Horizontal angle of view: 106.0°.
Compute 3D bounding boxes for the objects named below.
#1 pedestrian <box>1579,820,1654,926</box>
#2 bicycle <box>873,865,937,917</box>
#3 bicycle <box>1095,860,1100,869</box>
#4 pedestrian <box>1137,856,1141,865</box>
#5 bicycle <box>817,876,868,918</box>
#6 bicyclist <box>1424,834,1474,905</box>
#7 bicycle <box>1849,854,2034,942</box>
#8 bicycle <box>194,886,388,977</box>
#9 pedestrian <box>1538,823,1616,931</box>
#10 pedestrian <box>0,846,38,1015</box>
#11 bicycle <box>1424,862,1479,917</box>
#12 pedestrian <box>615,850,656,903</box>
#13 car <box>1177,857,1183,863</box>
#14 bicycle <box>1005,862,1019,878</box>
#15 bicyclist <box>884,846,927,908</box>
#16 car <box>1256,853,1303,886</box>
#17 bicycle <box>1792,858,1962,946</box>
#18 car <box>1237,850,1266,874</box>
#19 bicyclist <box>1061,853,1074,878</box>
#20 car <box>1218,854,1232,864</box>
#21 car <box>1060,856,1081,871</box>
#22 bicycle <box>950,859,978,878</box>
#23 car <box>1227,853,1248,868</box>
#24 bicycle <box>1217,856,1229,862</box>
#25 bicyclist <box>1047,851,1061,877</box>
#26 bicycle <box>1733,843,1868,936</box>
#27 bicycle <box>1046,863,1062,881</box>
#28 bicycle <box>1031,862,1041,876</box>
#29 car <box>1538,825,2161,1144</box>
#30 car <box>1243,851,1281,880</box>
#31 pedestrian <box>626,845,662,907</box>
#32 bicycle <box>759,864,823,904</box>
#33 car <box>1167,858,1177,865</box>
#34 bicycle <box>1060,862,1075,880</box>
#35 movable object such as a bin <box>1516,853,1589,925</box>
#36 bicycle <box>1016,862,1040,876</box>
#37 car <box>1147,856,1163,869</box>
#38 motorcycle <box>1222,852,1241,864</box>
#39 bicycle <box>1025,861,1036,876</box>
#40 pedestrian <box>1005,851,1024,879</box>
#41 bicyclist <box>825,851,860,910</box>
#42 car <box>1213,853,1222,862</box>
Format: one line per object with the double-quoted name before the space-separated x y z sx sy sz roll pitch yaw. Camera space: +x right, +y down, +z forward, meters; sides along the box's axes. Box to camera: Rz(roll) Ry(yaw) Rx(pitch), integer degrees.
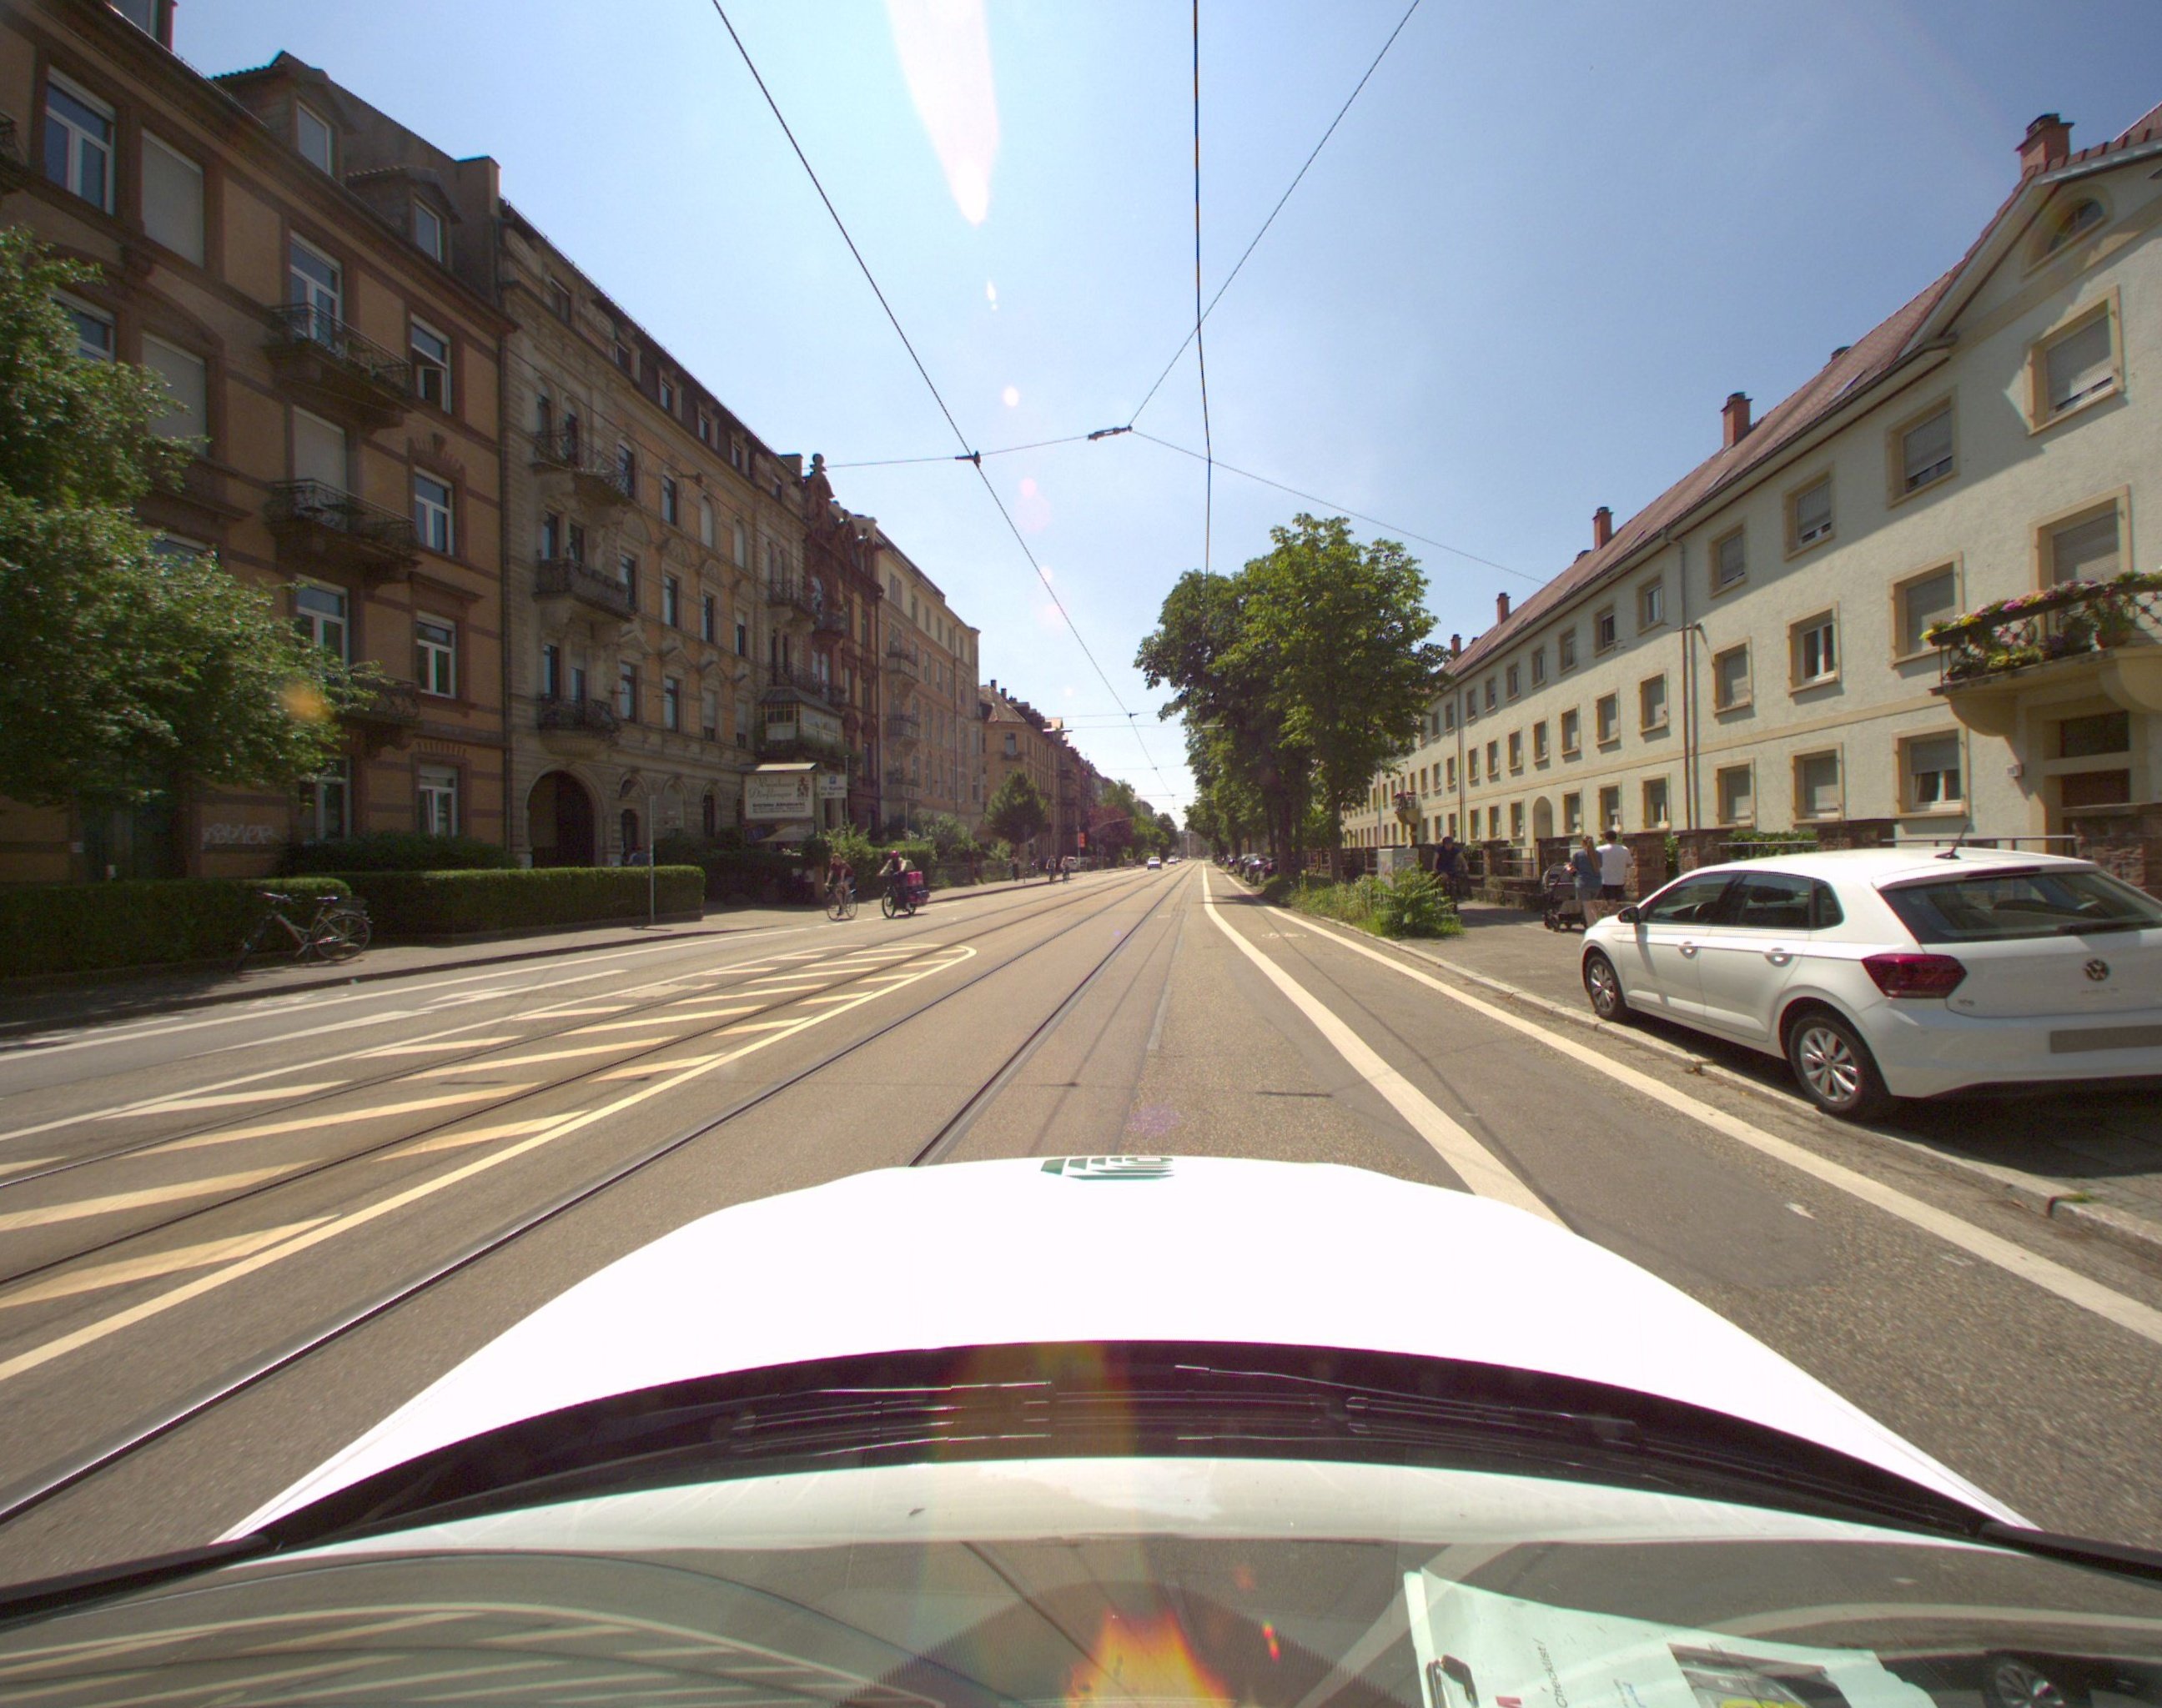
"pedestrian" 8.884 0.303 13.545 0.693 1.669 0.758 -4 -1 7
"bicycle" -4.722 0.958 22.058 0.803 1.271 2.557 -1 0 9
"bicycle" 1.883 1.195 94.605 0.451 1.003 1.809 -1 0 5
"pedestrian" 10.202 1.176 143.792 0.747 1.629 0.834 -1 -1 4
"bicycle" -6.335 1.125 21.737 0.564 1.038 1.833 -1 0 9
"bicyclist" 7.713 0.317 17.111 0.706 1.452 1.013 -1 0 10
"bicycle" 11.444 0.538 10.936 0.594 1.063 1.844 -1 0 3
"bicycle" -11.132 1.046 11.587 0.634 1.093 1.937 1 0 12
"pedestrian" 8.083 0.366 13.310 0.693 1.669 0.871 -4 -1 7
"pedestrian" -11.334 0.777 8.028 0.865 1.700 1.017 -1 0 14
"bicycle" 7.700 0.711 16.987 0.598 1.051 1.828 -1 0 11
"pedestrian" -14.449 0.715 26.430 0.899 1.700 0.829 -1 0 35
"car" 25.983 1.566 213.655 1.677 1.454 3.757 -1 0 8
"bicycle" -4.448 1.002 52.690 0.494 0.987 1.714 3 0 7
"bicyclist" -4.736 0.620 22.040 0.803 1.629 0.983 -1 0 9
"car" 9.568 0.714 39.536 1.648 1.515 4.006 -1 0 6
"bicycle" 10.629 0.596 10.975 0.525 1.063 1.866 -1 0 3
"car" 12.293 0.548 58.772 1.934 1.651 4.895 -1 0 11
"bicyclist" -0.835 0.719 50.708 0.589 1.544 0.954 -2 0 8
"car" 21.997 0.729 124.641 1.764 1.501 4.314 -2 0 7
"car" -1.054 0.968 85.779 1.857 1.600 4.105 0 0 3
"bicycle" -6.634 0.829 46.137 1.501 1.043 0.496 -1 0 9
"car" 16.886 0.682 87.940 1.760 1.426 4.870 -1 0 6
"bicycle" 24.180 0.812 138.476 1.875 1.052 0.540 -1 -1 15
"bicyclist" -1.681 0.625 50.716 0.630 1.584 1.030 -2 0 8
"bicycle" 9.884 0.453 11.271 0.593 1.175 1.759 -1 0 12
"bicycle" -1.675 1.095 50.610 0.625 1.078 1.879 -2 0 8
"bicycle" -3.284 1.080 59.799 0.436 0.983 1.714 -1 0 7
"car" 5.232 0.627 5.952 1.768 1.410 4.165 -6 -1 7
"car" 10.644 0.634 48.089 1.723 1.552 4.462 -1 0 7
"pedestrian" -13.471 0.677 25.094 0.821 1.857 0.868 -1 0 -40
"bicycle" -9.386 0.953 26.382 1.861 1.227 0.569 1 0 5
"car" 17.875 1.472 159.633 1.746 1.424 4.010 -2 0 9
"bicycle" -0.828 1.054 50.688 0.578 1.078 1.895 -2 0 8
"movable object such as a bin" 8.225 0.592 14.262 0.693 1.186 1.038 -4 -1 7
"bicycle" -3.960 1.111 61.262 1.693 1.037 0.553 -1 0 12
"car" 9.164 1.063 100.288 1.675 1.449 4.009 -2 0 8
"motorcycle" 19.092 0.511 103.247 0.874 1.540 2.294 -1 0 -39
"bicycle" -3.598 1.023 57.777 0.436 0.983 1.714 -1 0 7
"pedestrian" -4.208 0.699 51.613 0.846 1.723 1.141 2 0 9
"bicyclist" -6.347 0.690 21.701 0.559 1.515 0.894 -1 0 9
"car" 33.031 0.849 197.313 1.982 2.035 4.708 -1 0 8
